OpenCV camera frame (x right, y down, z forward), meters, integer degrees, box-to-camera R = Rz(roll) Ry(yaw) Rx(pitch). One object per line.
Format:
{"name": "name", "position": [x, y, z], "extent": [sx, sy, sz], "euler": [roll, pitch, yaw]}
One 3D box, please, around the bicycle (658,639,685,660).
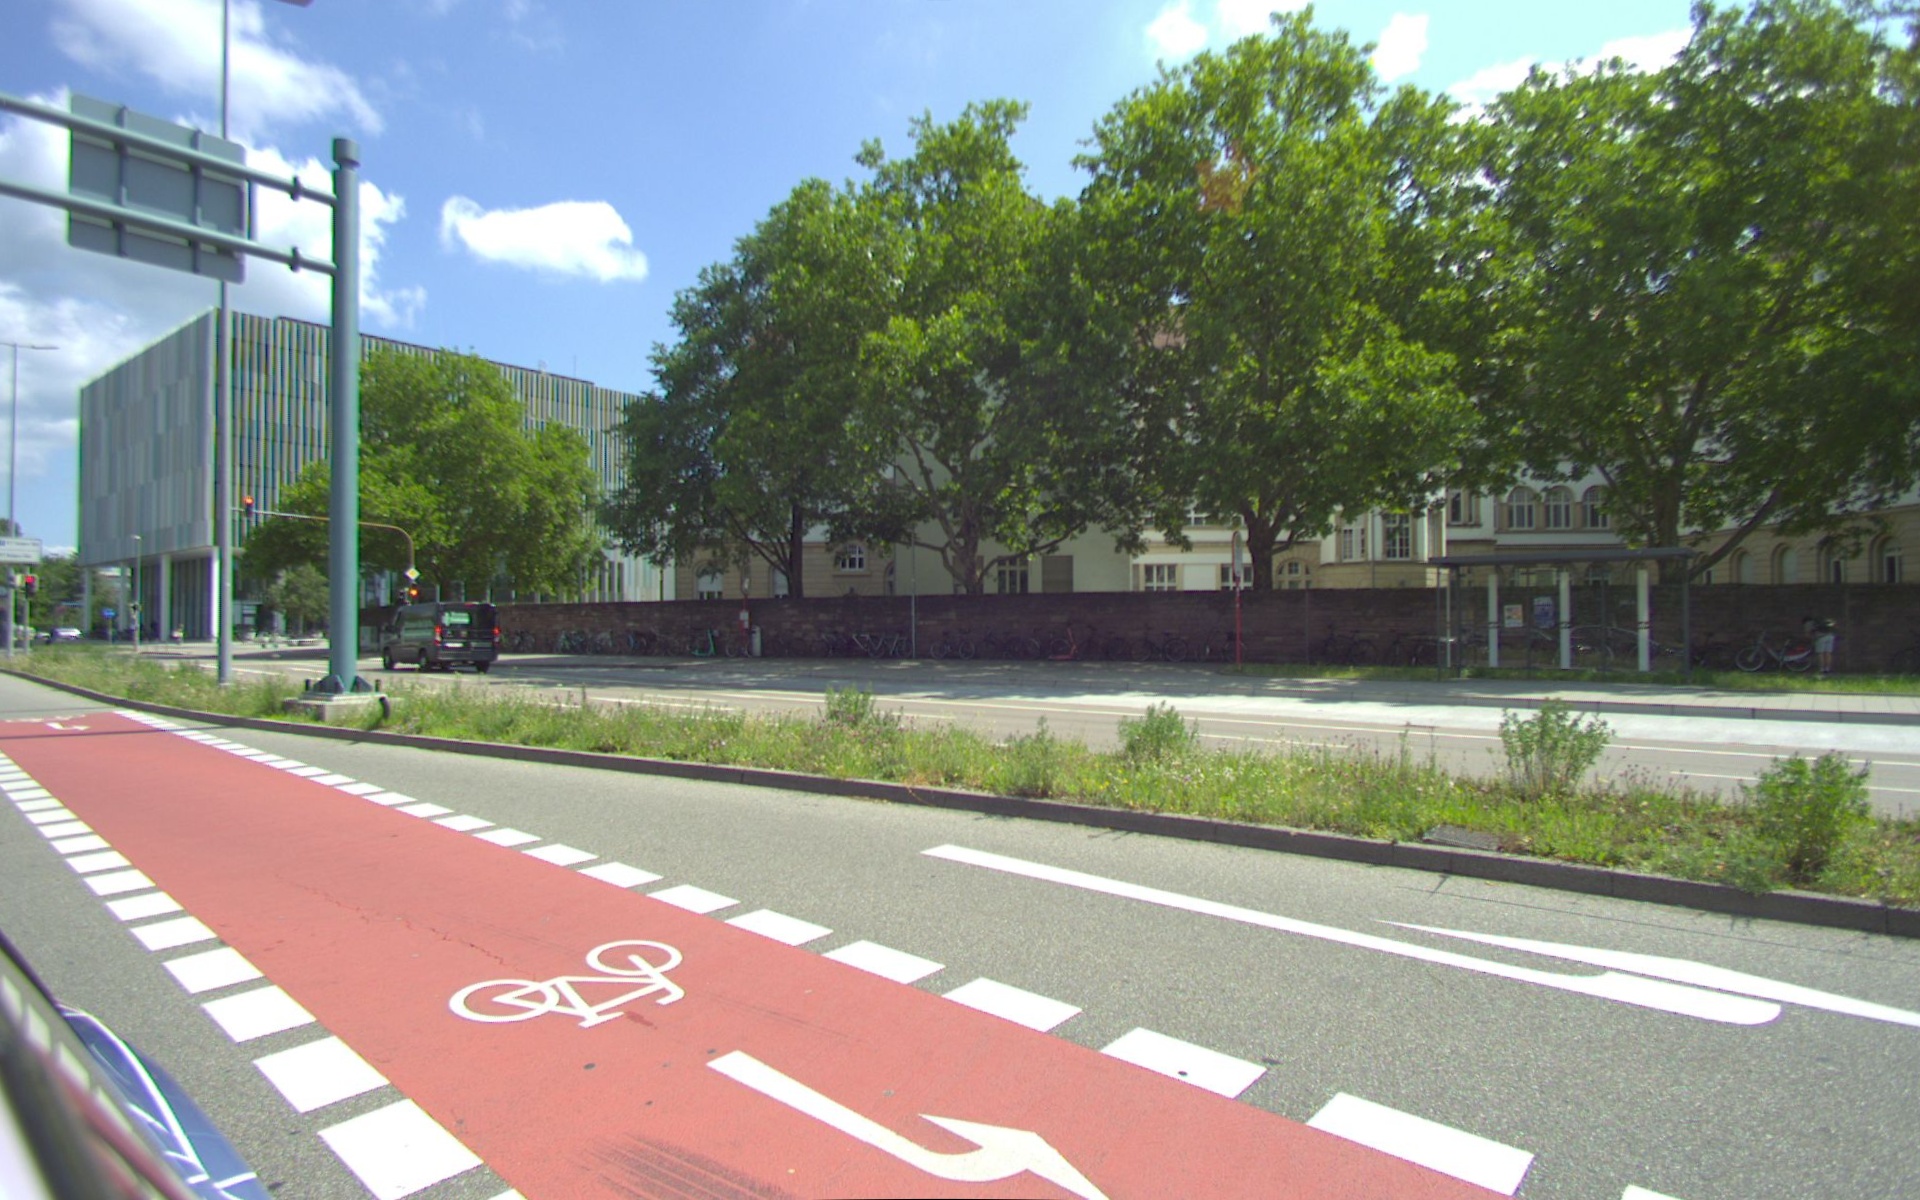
{"name": "bicycle", "position": [-11.569, 1.967, 40.573], "extent": [1.231, 0.837, 0.262], "euler": [-2, -2, 30]}

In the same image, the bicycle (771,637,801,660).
{"name": "bicycle", "position": [-6.471, 1.810, 37.559], "extent": [1.231, 0.837, 0.262], "euler": [-1, -2, 30]}

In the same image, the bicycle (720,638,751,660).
{"name": "bicycle", "position": [-8.648, 1.886, 38.942], "extent": [1.226, 0.837, 0.263], "euler": [-1, -2, 19]}

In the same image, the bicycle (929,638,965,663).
{"name": "bicycle", "position": [-0.437, 1.696, 34.261], "extent": [1.230, 0.837, 0.262], "euler": [-1, -2, 28]}

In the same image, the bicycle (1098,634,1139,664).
{"name": "bicycle", "position": [4.948, 1.522, 31.598], "extent": [1.230, 0.915, 0.262], "euler": [-1, -2, 28]}

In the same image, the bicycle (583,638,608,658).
{"name": "bicycle", "position": [-15.332, 2.005, 42.548], "extent": [1.230, 0.837, 0.262], "euler": [-1, -2, 29]}

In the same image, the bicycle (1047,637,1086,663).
{"name": "bicycle", "position": [3.408, 1.594, 32.451], "extent": [1.230, 0.837, 0.262], "euler": [-1, -2, 28]}

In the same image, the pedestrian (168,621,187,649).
{"name": "pedestrian", "position": [-57.497, 2.553, 74.351], "extent": [0.994, 2.029, 0.853], "euler": [-2, -2, 39]}

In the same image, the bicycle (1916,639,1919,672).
{"name": "bicycle", "position": [24.441, 1.356, 24.599], "extent": [1.734, 0.823, 0.382], "euler": [-1, -2, 18]}

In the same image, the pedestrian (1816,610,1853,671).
{"name": "pedestrian", "position": [21.431, 0.990, 24.804], "extent": [0.633, 1.484, 0.504], "euler": [-2, -2, 39]}

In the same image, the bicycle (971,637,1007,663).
{"name": "bicycle", "position": [0.959, 1.665, 33.712], "extent": [1.230, 0.837, 0.262], "euler": [-1, -2, 28]}

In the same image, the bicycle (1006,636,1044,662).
{"name": "bicycle", "position": [2.131, 1.610, 33.063], "extent": [1.230, 0.837, 0.262], "euler": [-1, -2, 28]}

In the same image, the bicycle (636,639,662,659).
{"name": "bicycle", "position": [-12.733, 2.008, 41.477], "extent": [1.231, 0.837, 0.262], "euler": [-2, -2, 30]}

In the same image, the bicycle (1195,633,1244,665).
{"name": "bicycle", "position": [7.806, 1.469, 30.411], "extent": [1.389, 0.972, 0.262], "euler": [-1, -2, 28]}

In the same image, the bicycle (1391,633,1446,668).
{"name": "bicycle", "position": [12.863, 1.404, 28.414], "extent": [1.384, 0.972, 0.263], "euler": [-1, -2, 18]}

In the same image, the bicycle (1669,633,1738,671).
{"name": "bicycle", "position": [19.232, 1.345, 26.191], "extent": [1.384, 0.972, 0.263], "euler": [-1, -2, 18]}

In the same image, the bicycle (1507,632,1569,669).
{"name": "bicycle", "position": [15.630, 1.368, 27.384], "extent": [1.384, 0.972, 0.263], "euler": [-1, -2, 18]}

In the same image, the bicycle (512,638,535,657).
{"name": "bicycle", "position": [-19.950, 2.169, 46.234], "extent": [1.230, 0.837, 0.262], "euler": [-1, -2, 29]}

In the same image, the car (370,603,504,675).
{"name": "car", "position": [-17.229, 1.300, 33.247], "extent": [5.014, 2.192, 2.126], "euler": [-2, -4, 40]}

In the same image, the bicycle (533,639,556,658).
{"name": "bicycle", "position": [-18.597, 2.163, 45.301], "extent": [1.230, 0.837, 0.262], "euler": [-1, -2, 29]}

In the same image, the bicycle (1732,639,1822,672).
{"name": "bicycle", "position": [20.744, 1.405, 25.717], "extent": [1.734, 0.823, 0.327], "euler": [-1, -2, 18]}

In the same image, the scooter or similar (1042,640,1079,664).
{"name": "scooter or similar", "position": [3.148, 1.629, 31.812], "extent": [1.133, 0.734, 0.264], "euler": [-1, -2, 18]}

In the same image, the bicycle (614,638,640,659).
{"name": "bicycle", "position": [-13.889, 2.028, 42.207], "extent": [1.231, 0.837, 0.262], "euler": [-2, -2, 30]}

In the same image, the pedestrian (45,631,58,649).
{"name": "pedestrian", "position": [-82.492, 3.630, 91.894], "extent": [0.705, 1.704, 0.783], "euler": [-2, -2, 42]}

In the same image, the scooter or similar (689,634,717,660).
{"name": "scooter or similar", "position": [-10.146, 1.853, 39.912], "extent": [1.133, 1.028, 0.264], "euler": [-1, -2, 19]}

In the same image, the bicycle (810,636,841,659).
{"name": "bicycle", "position": [-4.891, 1.731, 36.851], "extent": [1.231, 0.837, 0.262], "euler": [-1, -2, 30]}

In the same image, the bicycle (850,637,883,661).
{"name": "bicycle", "position": [-3.312, 1.735, 35.925], "extent": [1.231, 0.837, 0.262], "euler": [-1, -2, 30]}

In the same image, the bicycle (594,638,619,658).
{"name": "bicycle", "position": [-14.986, 2.017, 42.872], "extent": [1.231, 0.837, 0.262], "euler": [-2, -2, 30]}

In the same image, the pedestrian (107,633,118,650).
{"name": "pedestrian", "position": [-73.996, 3.582, 88.398], "extent": [0.686, 1.464, 0.689], "euler": [1, -2, -43]}

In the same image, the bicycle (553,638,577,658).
{"name": "bicycle", "position": [-17.400, 2.112, 44.566], "extent": [1.230, 0.837, 0.262], "euler": [-1, -2, 29]}

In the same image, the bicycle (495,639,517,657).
{"name": "bicycle", "position": [-21.055, 2.219, 46.958], "extent": [1.231, 0.837, 0.262], "euler": [-2, -2, 30]}

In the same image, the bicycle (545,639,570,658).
{"name": "bicycle", "position": [-17.483, 2.096, 43.957], "extent": [1.230, 0.837, 0.262], "euler": [-1, -2, 29]}

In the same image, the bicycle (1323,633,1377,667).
{"name": "bicycle", "position": [11.178, 1.426, 29.028], "extent": [1.384, 0.972, 0.263], "euler": [-1, -2, 18]}

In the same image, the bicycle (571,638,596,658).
{"name": "bicycle", "position": [-16.269, 2.083, 43.717], "extent": [1.231, 0.837, 0.262], "euler": [-2, -2, 30]}

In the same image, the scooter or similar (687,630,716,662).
{"name": "scooter or similar", "position": [-9.914, 1.758, 38.835], "extent": [1.230, 1.199, 0.262], "euler": [-1, -2, 29]}

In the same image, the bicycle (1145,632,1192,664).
{"name": "bicycle", "position": [6.399, 1.476, 31.031], "extent": [1.385, 0.972, 0.263], "euler": [-1, -2, 20]}

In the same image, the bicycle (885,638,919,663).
{"name": "bicycle", "position": [-2.016, 1.751, 35.110], "extent": [1.231, 0.837, 0.262], "euler": [-1, -2, 30]}

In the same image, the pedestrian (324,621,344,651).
{"name": "pedestrian", "position": [-43.813, 2.525, 70.839], "extent": [0.864, 2.029, 0.981], "euler": [-2, -2, 41]}
